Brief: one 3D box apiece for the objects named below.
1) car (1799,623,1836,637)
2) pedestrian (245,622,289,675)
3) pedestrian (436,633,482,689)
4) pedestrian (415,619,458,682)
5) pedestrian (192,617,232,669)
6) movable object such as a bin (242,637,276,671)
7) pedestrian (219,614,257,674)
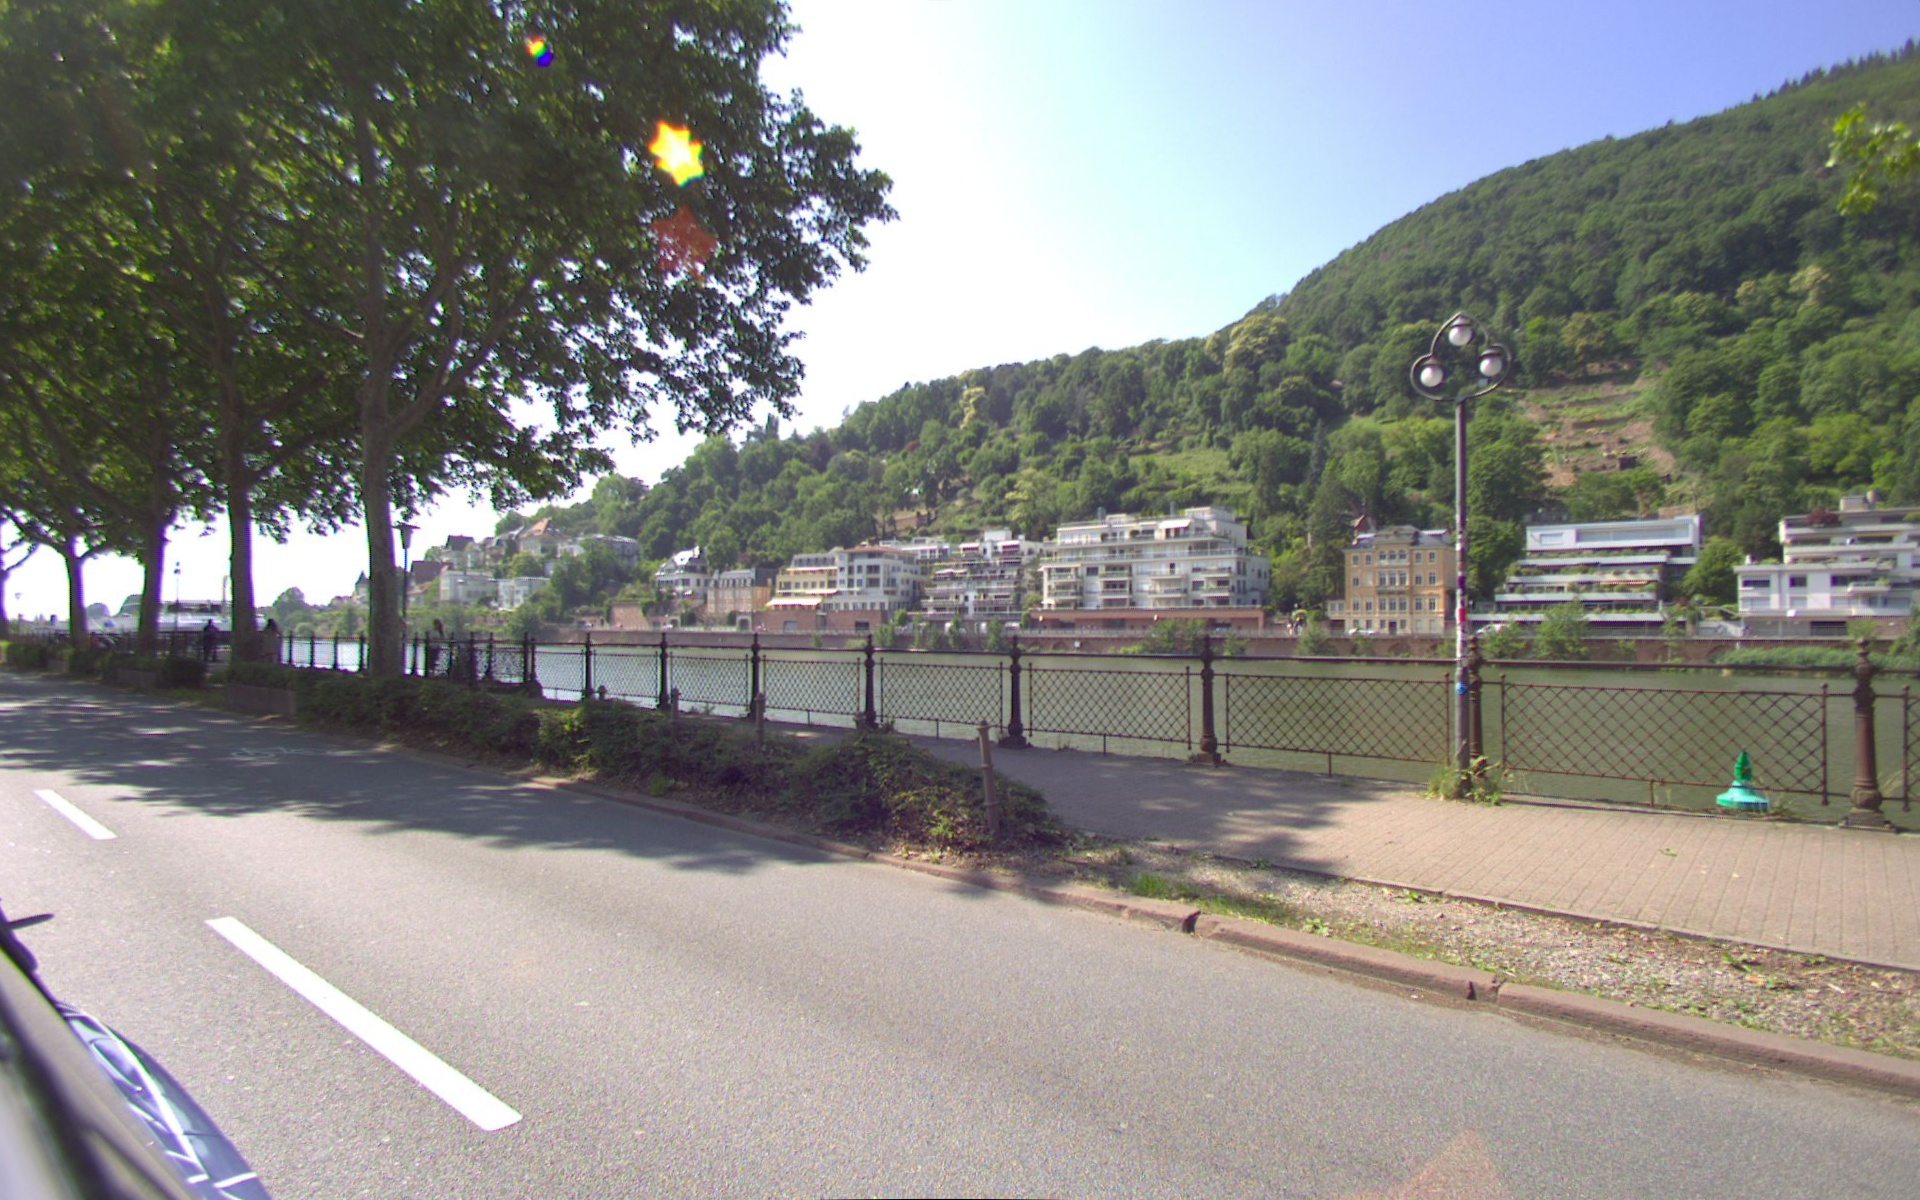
[{"bbox_3d":[125.317,4.382,147.904,3.998,2.029,1.973,-3,-2,41],"label":"car"},{"bbox_3d":[-22.344,1.551,32.638,1.057,1.647,0.887,-1,0,36],"label":"pedestrian"},{"bbox_3d":[-12.763,1.549,25.787,0.770,1.398,0.758,-2,-3,40],"label":"pedestrian"},{"bbox_3d":[-15.013,1.446,29.034,0.829,1.771,0.767,-2,-4,40],"label":"pedestrian"},{"bbox_3d":[-30.216,1.726,40.915,1.032,2.029,1.038,-1,0,-19],"label":"pedestrian"},{"bbox_3d":[-23.024,1.766,33.235,0.782,1.057,0.695,-1,0,37],"label":"movable object such as a bin"},{"bbox_3d":[-23.052,1.382,32.307,0.928,1.863,0.796,-1,0,41],"label":"pedestrian"}]
